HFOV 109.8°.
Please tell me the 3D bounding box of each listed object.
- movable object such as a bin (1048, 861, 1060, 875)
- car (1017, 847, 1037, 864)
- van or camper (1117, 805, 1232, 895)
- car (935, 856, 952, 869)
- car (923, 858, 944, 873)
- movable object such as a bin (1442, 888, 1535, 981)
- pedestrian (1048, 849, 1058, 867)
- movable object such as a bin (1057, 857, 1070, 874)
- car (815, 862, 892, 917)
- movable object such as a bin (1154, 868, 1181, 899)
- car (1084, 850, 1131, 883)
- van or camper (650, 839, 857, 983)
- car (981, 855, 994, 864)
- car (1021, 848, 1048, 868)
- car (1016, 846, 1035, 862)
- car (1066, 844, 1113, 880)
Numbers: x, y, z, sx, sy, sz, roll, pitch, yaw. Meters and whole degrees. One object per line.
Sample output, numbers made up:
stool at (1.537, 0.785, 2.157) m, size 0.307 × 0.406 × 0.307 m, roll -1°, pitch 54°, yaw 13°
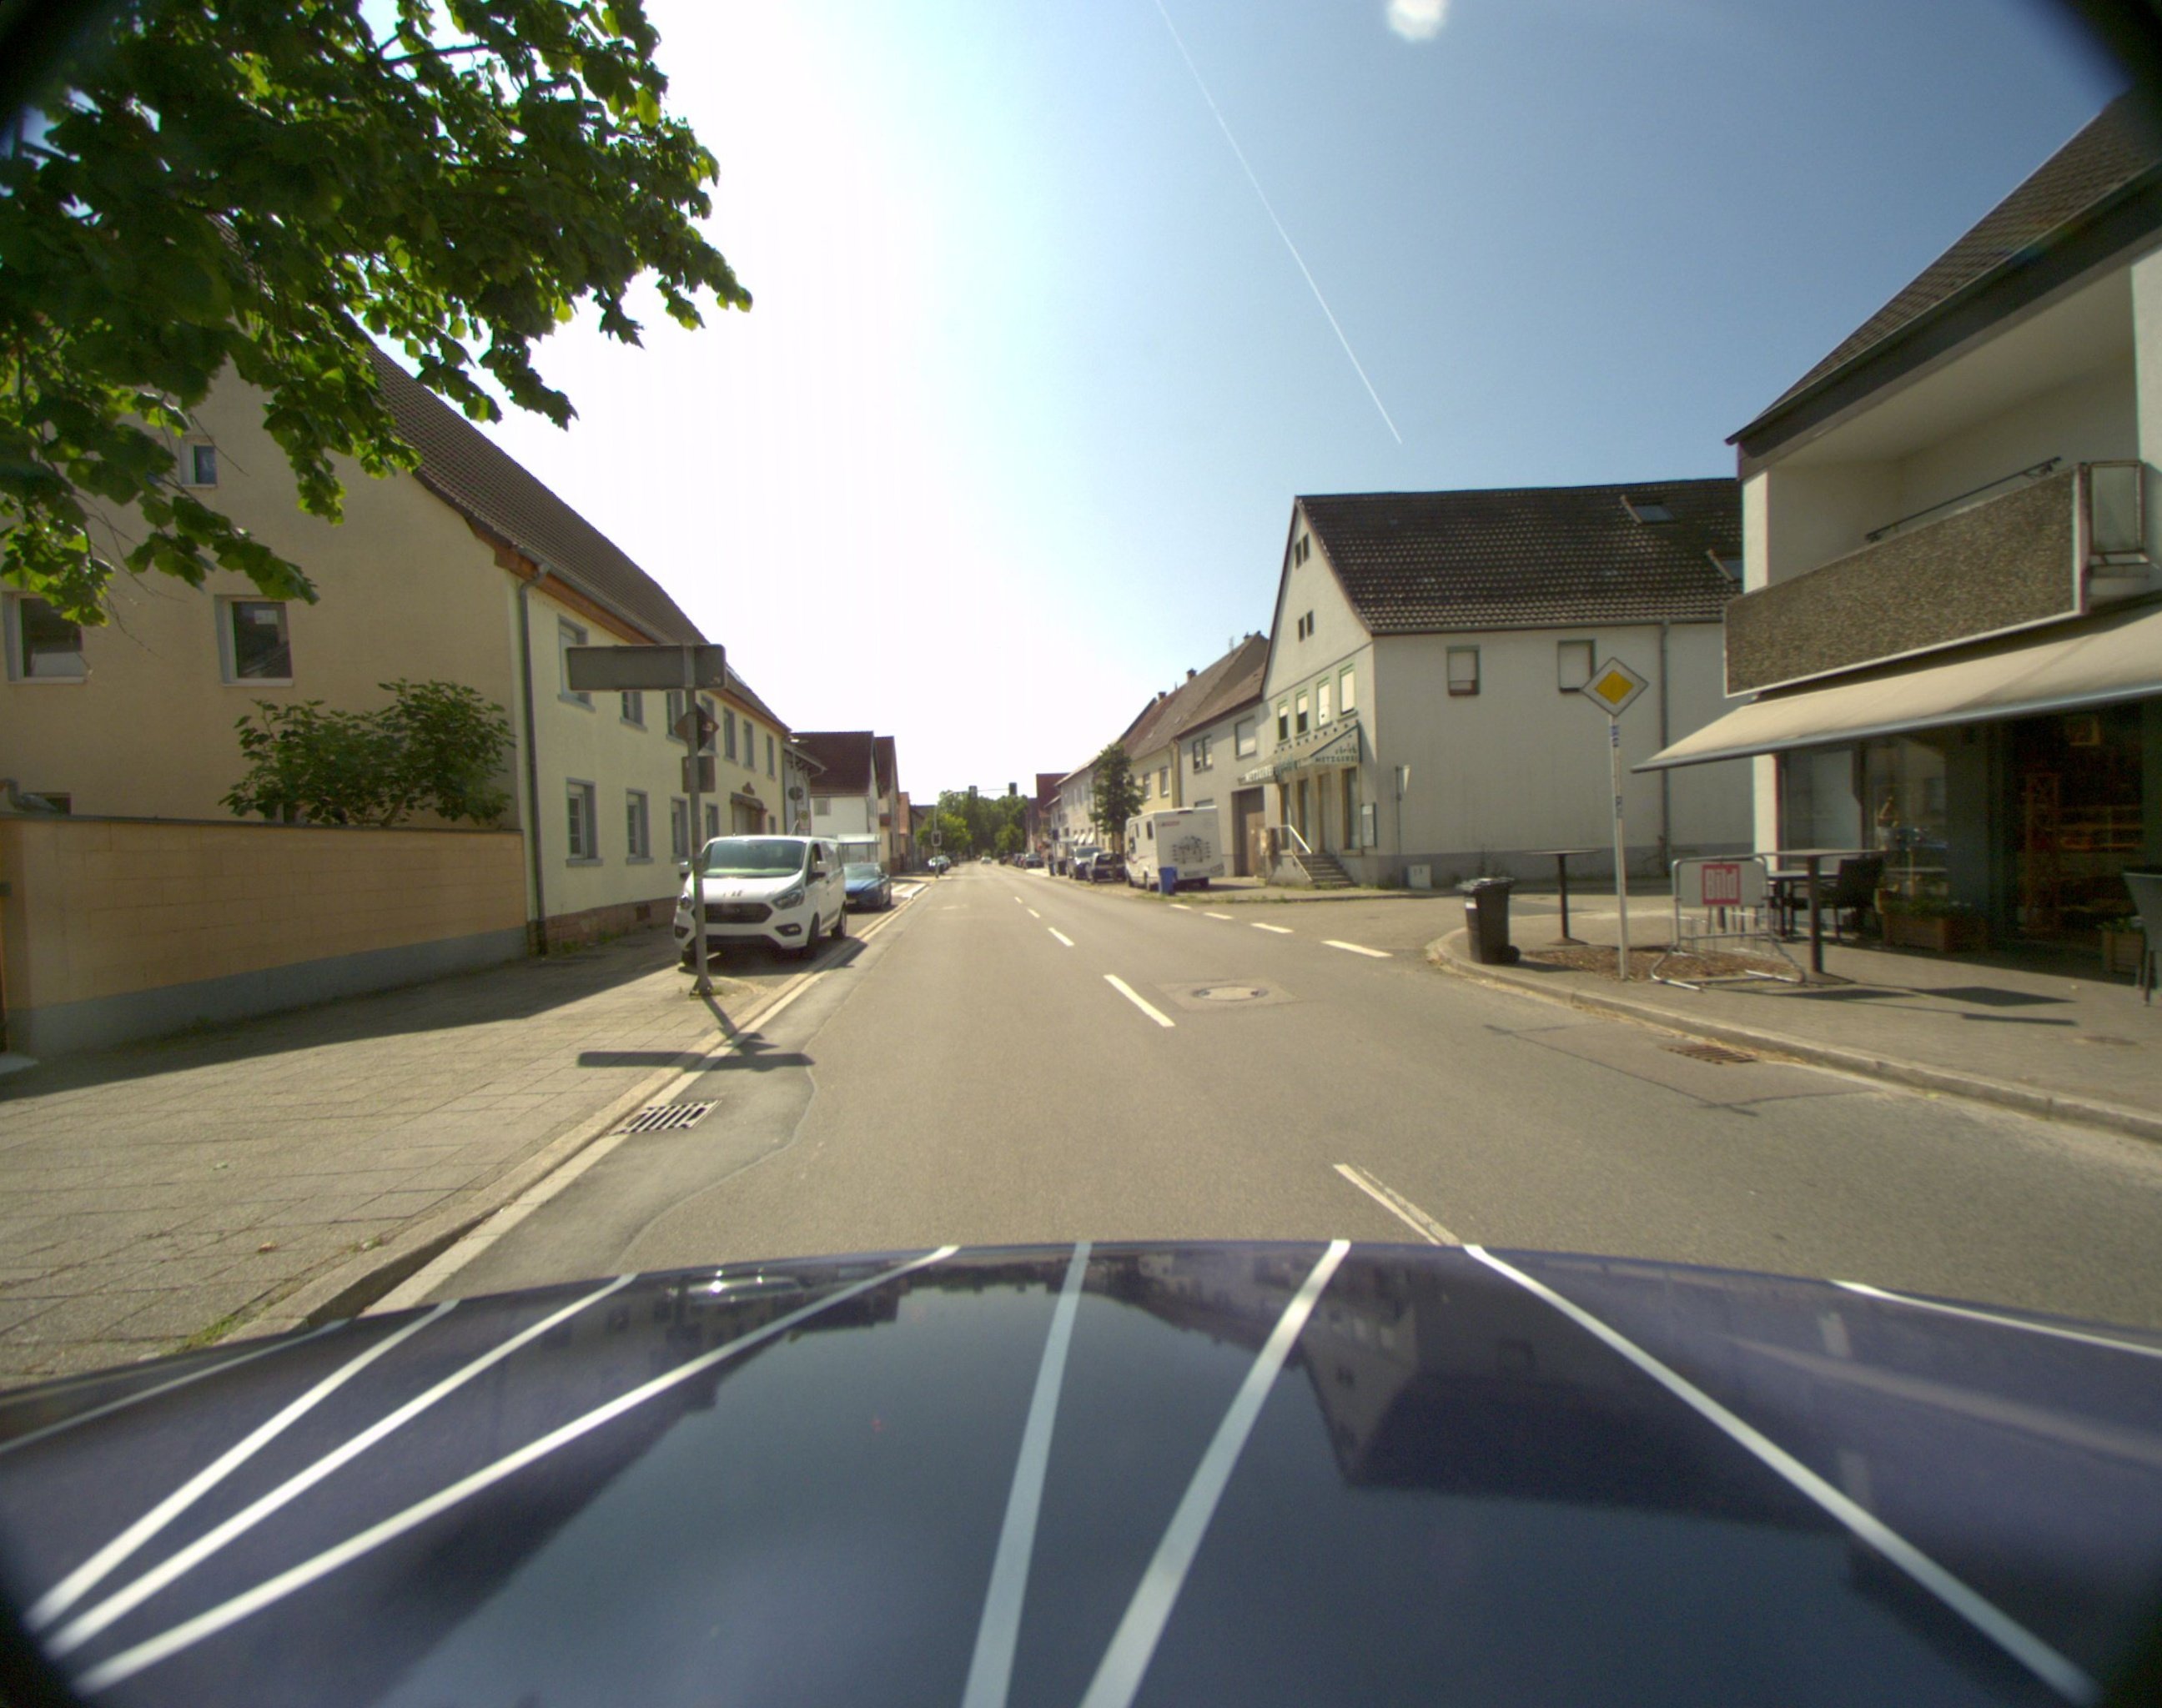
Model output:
movable object such as a bin at (-1.854, 0.962, 52.249) m, size 0.719 × 0.907 × 0.550 m, roll -3°, pitch 1°, yaw -10°
car at (-6.162, 0.159, 86.124) m, size 2.000 × 1.837 × 4.953 m, roll -2°, pitch 1°, yaw -6°
van or camper at (3.274, -0.144, 28.700) m, size 2.453 × 2.888 × 7.062 m, roll -3°, pitch 1°, yaw -8°
car at (-16.938, 1.010, 93.745) m, size 2.000 × 1.477 × 3.996 m, roll -3°, pitch 1°, yaw -9°
car at (-15.859, 1.247, 81.985) m, size 2.000 × 1.477 × 3.996 m, roll -3°, pitch 1°, yaw -9°
movable object such as a bin at (4.479, 0.866, 8.378) m, size 0.645 × 0.919 × 0.613 m, roll -2°, pitch 1°, yaw -9°
pedestrian at (-2.458, 0.372, 66.056) m, size 0.753 × 1.523 × 0.580 m, roll -3°, pitch 1°, yaw -9°
movable object such as a bin at (-1.177, 0.776, 51.144) m, size 0.719 × 1.060 × 0.550 m, roll -3°, pitch 1°, yaw -10°
car at (-6.905, 1.019, 23.452) m, size 1.734 × 1.419 × 3.982 m, roll -2°, pitch 1°, yaw -9°
movable object such as a bin at (2.613, 0.876, 22.910) m, size 0.645 × 0.867 × 0.613 m, roll -3°, pitch 1°, yaw -9°
car at (1.275, 0.576, 37.942) m, size 1.690 × 1.474 × 3.615 m, roll -3°, pitch 1°, yaw -8°
van or camper at (-5.330, 0.773, 13.244) m, size 2.000 × 1.942 × 5.341 m, roll -2°, pitch 1°, yaw -9°
car at (-15.943, 0.920, 129.579) m, size 1.999 × 1.521 × 3.998 m, roll -3°, pitch 1°, yaw -4°
car at (-4.680, 0.348, 75.715) m, size 2.357 × 1.837 × 4.952 m, roll -2°, pitch 1°, yaw -7°
car at (-6.715, 0.009, 91.655) m, size 2.000 × 1.837 × 4.953 m, roll -2°, pitch 1°, yaw -6°
car at (0.421, 0.405, 43.611) m, size 2.000 × 1.837 × 4.953 m, roll -3°, pitch 1°, yaw -6°
